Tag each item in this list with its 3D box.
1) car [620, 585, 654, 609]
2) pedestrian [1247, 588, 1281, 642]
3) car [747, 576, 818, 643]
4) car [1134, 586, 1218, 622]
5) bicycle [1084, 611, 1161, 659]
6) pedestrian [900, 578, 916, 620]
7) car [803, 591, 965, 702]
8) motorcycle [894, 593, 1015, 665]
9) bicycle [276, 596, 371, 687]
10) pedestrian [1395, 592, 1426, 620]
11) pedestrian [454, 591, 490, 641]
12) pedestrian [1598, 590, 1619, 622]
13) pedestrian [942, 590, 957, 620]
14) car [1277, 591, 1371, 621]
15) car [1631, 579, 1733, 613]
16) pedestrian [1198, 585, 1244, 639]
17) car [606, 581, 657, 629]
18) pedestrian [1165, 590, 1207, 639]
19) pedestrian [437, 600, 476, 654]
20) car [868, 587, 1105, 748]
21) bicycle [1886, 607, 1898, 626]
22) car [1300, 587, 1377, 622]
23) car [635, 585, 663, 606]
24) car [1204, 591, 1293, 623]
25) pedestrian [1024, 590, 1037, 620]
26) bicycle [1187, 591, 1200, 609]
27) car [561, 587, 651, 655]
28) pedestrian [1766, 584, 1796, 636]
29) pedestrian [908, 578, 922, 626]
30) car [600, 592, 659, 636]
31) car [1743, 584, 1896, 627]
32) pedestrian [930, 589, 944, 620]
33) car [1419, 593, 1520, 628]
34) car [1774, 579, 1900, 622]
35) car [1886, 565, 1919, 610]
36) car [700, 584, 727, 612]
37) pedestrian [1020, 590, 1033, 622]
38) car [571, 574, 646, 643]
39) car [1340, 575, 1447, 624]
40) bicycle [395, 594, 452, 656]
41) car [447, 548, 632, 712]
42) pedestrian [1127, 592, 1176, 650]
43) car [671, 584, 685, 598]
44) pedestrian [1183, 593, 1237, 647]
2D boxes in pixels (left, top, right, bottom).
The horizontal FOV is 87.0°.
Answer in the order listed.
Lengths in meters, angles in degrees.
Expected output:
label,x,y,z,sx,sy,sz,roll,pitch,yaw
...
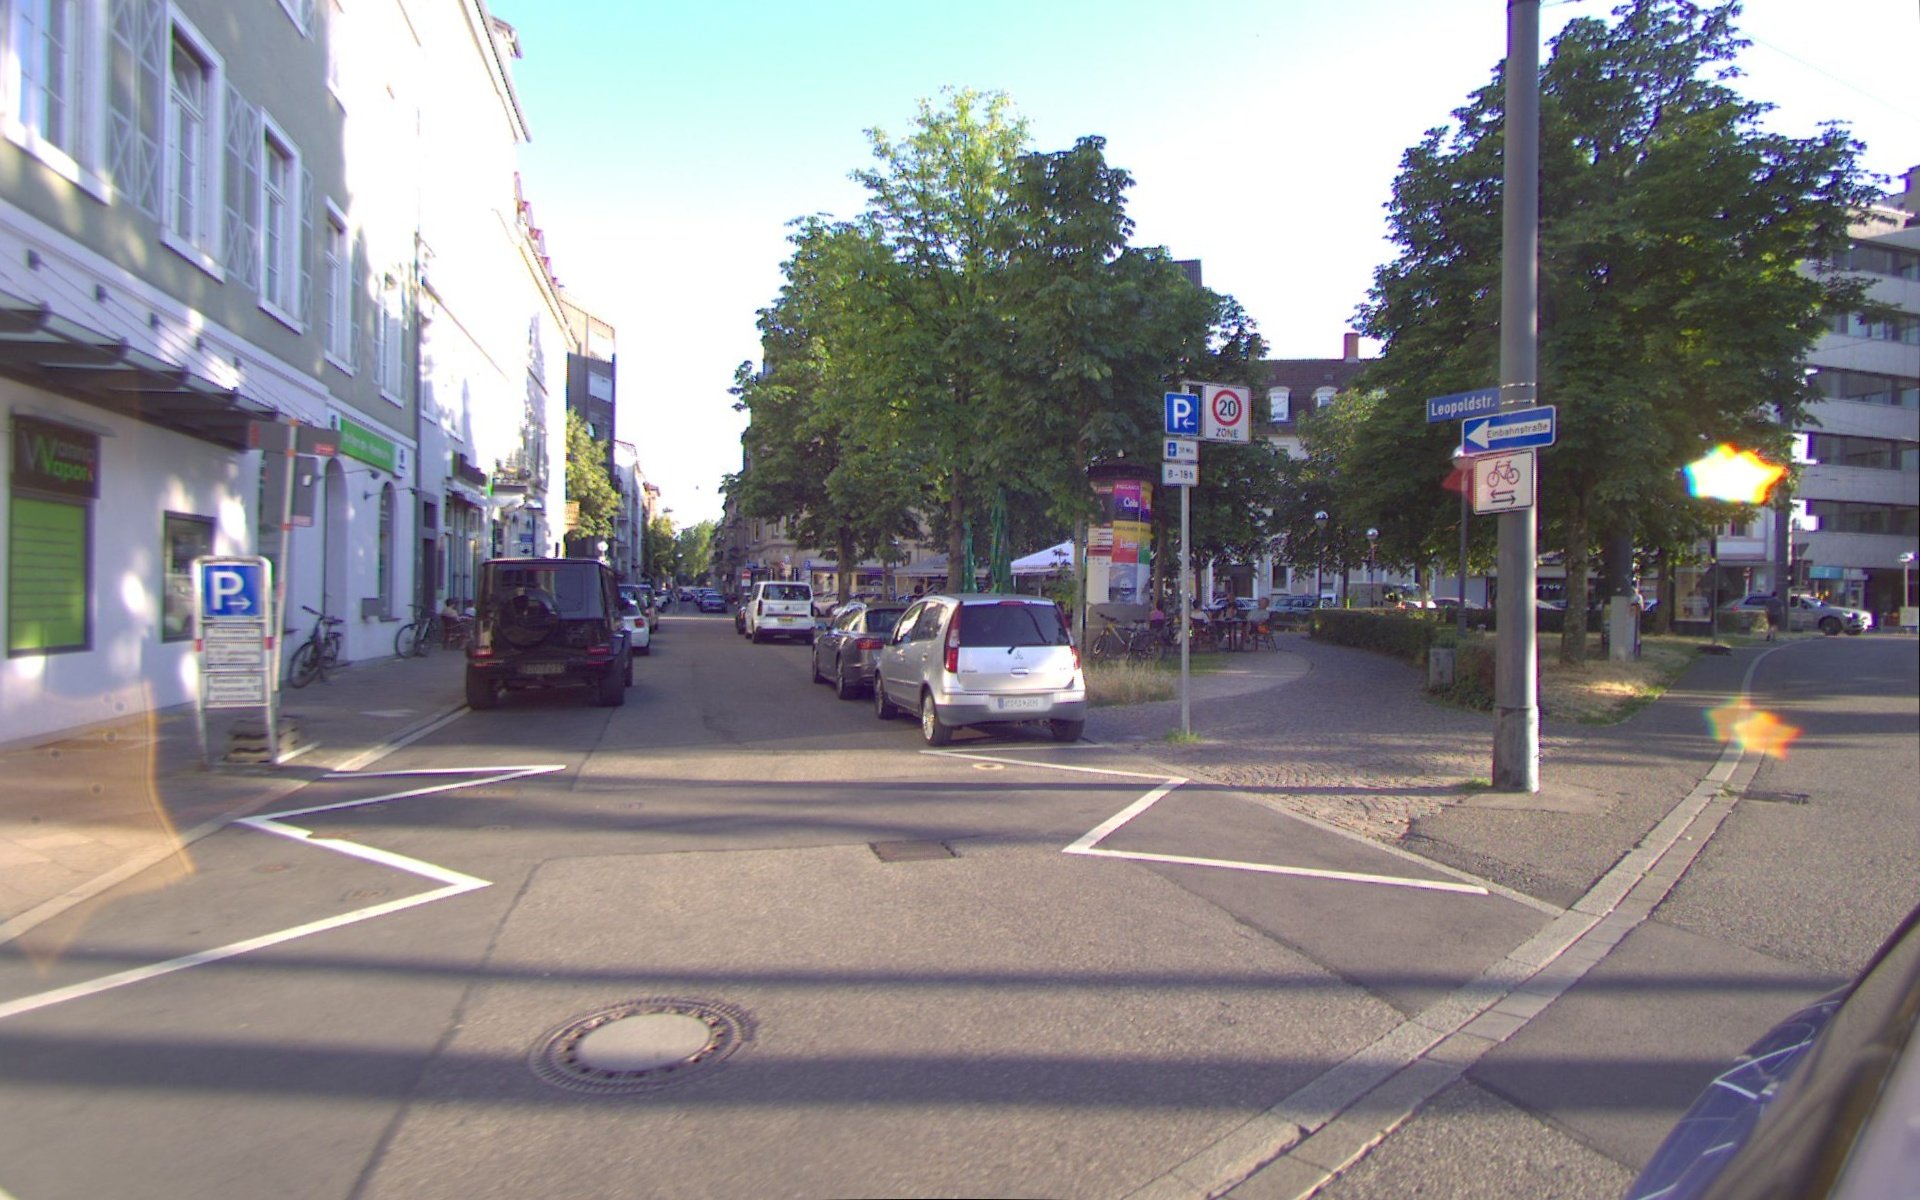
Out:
label,x,y,z,sx,sy,sz,roll,pitch,yaw
car,-19.288,-0.193,60.487,1.846,1.439,3.559,0,1,-16
pedestrian,7.188,0.349,23.965,0.600,1.260,0.569,0,0,-6
car,-5.923,0.280,33.392,1.958,2.039,4.445,0,0,-14
car,10.883,0.190,51.190,1.960,1.727,4.003,0,0,-30
bicycle,3.249,0.690,20.355,1.504,0.941,0.554,0,0,8
pedestrian,-1.982,-0.049,38.654,0.519,1.599,0.639,0,0,5
car,-1.399,0.623,16.433,1.702,1.533,4.683,0,0,-16
motorcycle,-0.113,0.574,20.229,2.220,1.385,0.943,-2,-1,26
bicycle,-9.593,0.584,15.336,0.672,1.261,1.992,0,0,-15
pedestrian,20.194,0.282,45.393,0.946,1.241,1.366,0,0,11
pedestrian,-12.708,0.402,26.375,0.672,1.261,1.029,0,0,-15
pedestrian,36.671,0.336,57.212,0.781,1.823,0.637,0,-1,9
pedestrian,-0.401,0.193,38.318,0.485,1.131,0.557,0,0,5
car,17.872,0.301,49.800,1.961,1.416,4.002,0,0,-32
car,40.363,-0.242,56.663,4.159,1.806,1.928,0,1,9
pedestrian,6.826,0.306,26.467,0.995,1.372,0.732,0,1,-2
car,-14.383,0.197,44.521,1.981,1.988,4.521,0,0,-16
pedestrian,6.066,0.393,27.194,0.933,1.259,0.663,-1,-4,-2
pedestrian,-12.214,0.635,24.572,0.672,1.261,1.029,0,0,-15
car,0.130,0.621,11.573,1.702,1.533,3.585,0,0,-16
bicycle,50.630,0.900,54.979,0.300,1.005,1.277,-1,-1,35
car,22.234,0.249,59.598,3.935,1.908,1.948,0,2,10
car,-22.135,-0.351,72.026,1.846,1.439,3.559,0,1,-16
car,14.260,0.332,50.177,1.961,1.505,4.002,0,0,-32
pedestrian,2.666,0.187,38.252,0.485,1.131,0.557,0,0,5
bicycle,10.666,0.007,46.177,0.438,0.789,1.272,0,1,7
car,-9.300,0.494,26.894,1.981,1.637,4.521,0,0,-16
pedestrian,28.228,0.330,34.811,0.630,1.765,0.590,1,0,-27
pedestrian,-1.639,0.075,36.578,0.328,1.706,0.383,0,0,41
car,-12.698,0.490,39.078,1.981,1.591,4.521,0,0,-16
car,37.638,0.245,44.466,1.958,1.794,4.718,0,0,-24
pedestrian,-0.844,0.161,36.573,0.450,1.131,0.530,0,0,5
car,24.321,0.486,48.445,1.912,1.624,4.006,0,0,-25
car,45.542,0.027,52.656,4.453,2.184,1.993,0,-1,12
car,59.404,-0.723,60.609,2.135,2.761,5.447,0,2,-18
car,-18.658,-0.131,76.466,1.958,2.039,4.445,0,0,-14
pedestrian,2.417,0.217,36.713,0.485,1.131,0.557,0,0,5
car,-10.923,0.227,31.691,1.981,1.988,4.521,0,0,-16
car,21.037,-0.003,49.339,2.050,2.269,4.891,0,0,-19
bicycle,-11.470,0.508,21.686,0.672,1.261,1.992,0,0,-15
car,-5.884,0.340,14.702,1.981,1.988,4.521,0,0,-16
pedestrian,4.396,0.491,23.251,0.649,1.301,0.953,0,-4,-23
car,-42.187,-1.315,151.233,1.958,2.039,4.008,0,1,-15
pedestrian,5.880,0.461,23.822,0.968,1.259,0.782,0,-1,-19
